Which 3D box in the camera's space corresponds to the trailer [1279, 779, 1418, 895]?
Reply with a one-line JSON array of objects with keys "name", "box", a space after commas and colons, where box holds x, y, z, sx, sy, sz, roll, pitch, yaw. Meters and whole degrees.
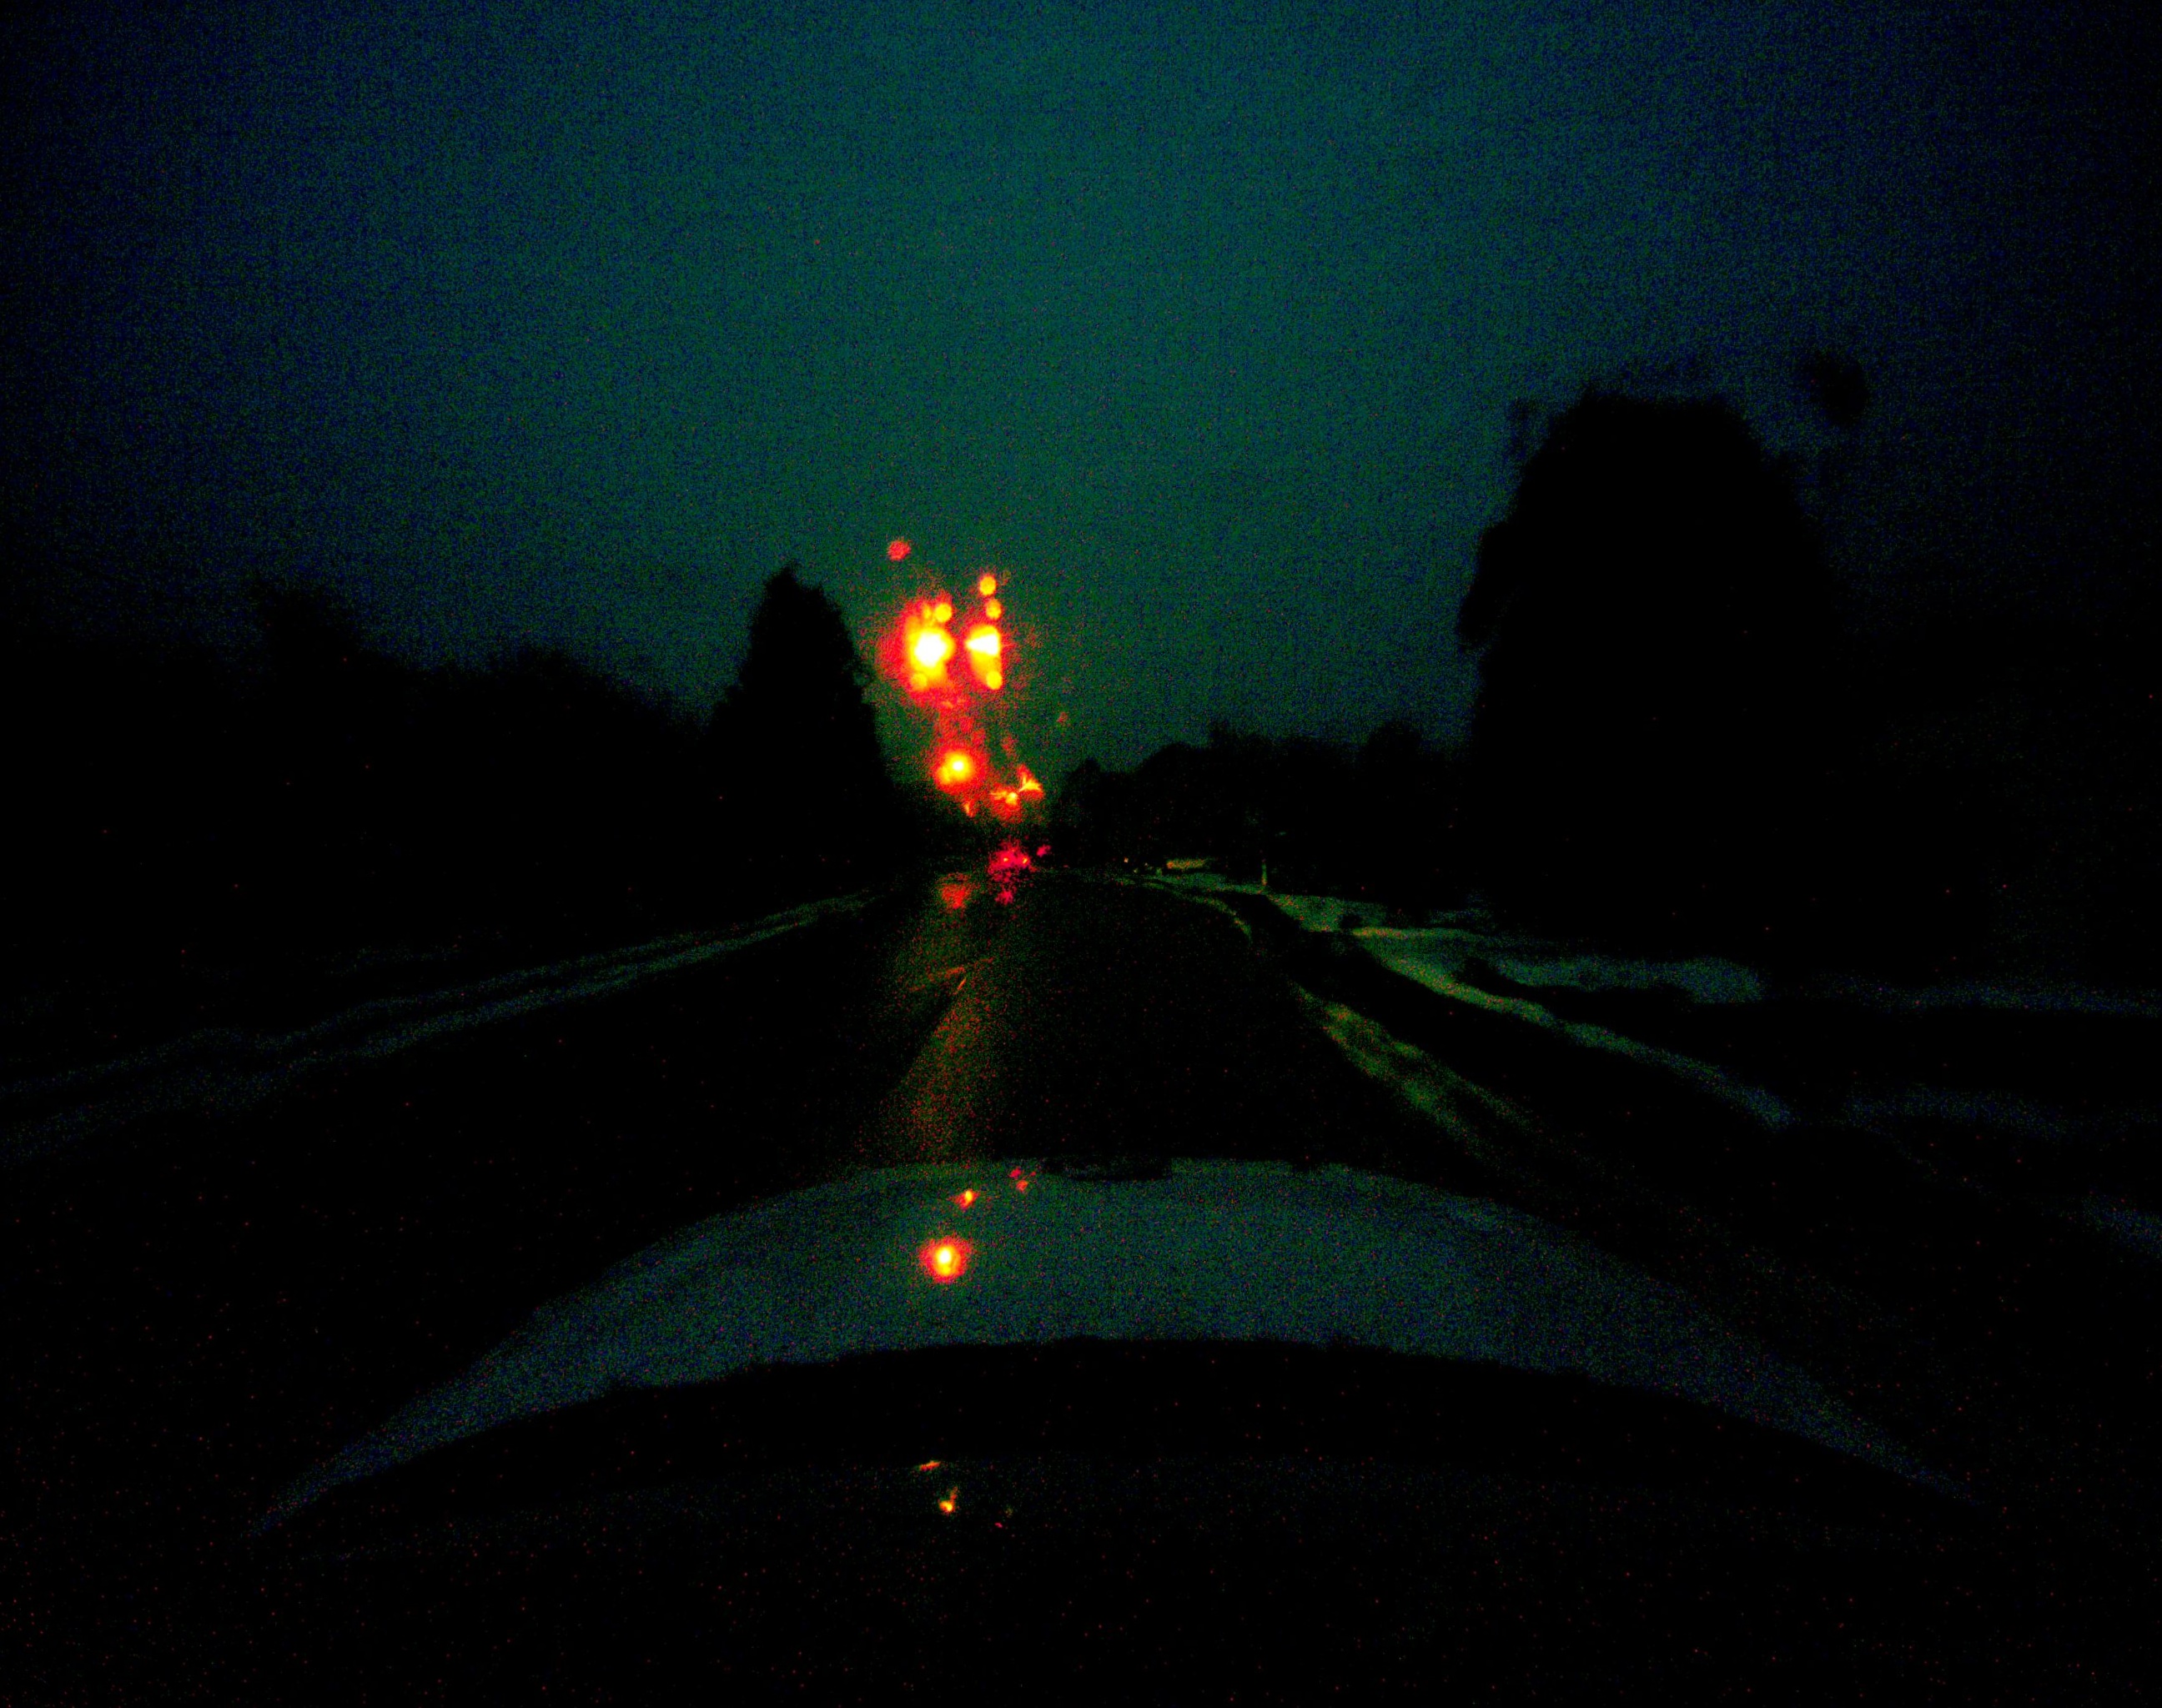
[{"name": "trailer", "box": [8.920, -0.498, 27.757, 2.869, 3.560, 5.055, 1, -1, -4]}]

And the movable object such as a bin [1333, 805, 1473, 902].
[{"name": "movable object such as a bin", "box": [8.947, 0.014, 23.136, 2.377, 2.469, 4.518, 0, -1, 3]}]

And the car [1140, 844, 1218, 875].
[{"name": "car", "box": [5.507, 0.314, 45.732, 4.221, 1.559, 2.003, -1, -3, 6]}]

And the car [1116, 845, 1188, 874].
[{"name": "car", "box": [4.229, 0.340, 48.749, 4.144, 1.559, 1.946, -1, -3, 0]}]

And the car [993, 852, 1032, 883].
[{"name": "car", "box": [-4.224, 0.845, 49.929, 1.994, 1.737, 3.863, -1, -3, -11]}]
